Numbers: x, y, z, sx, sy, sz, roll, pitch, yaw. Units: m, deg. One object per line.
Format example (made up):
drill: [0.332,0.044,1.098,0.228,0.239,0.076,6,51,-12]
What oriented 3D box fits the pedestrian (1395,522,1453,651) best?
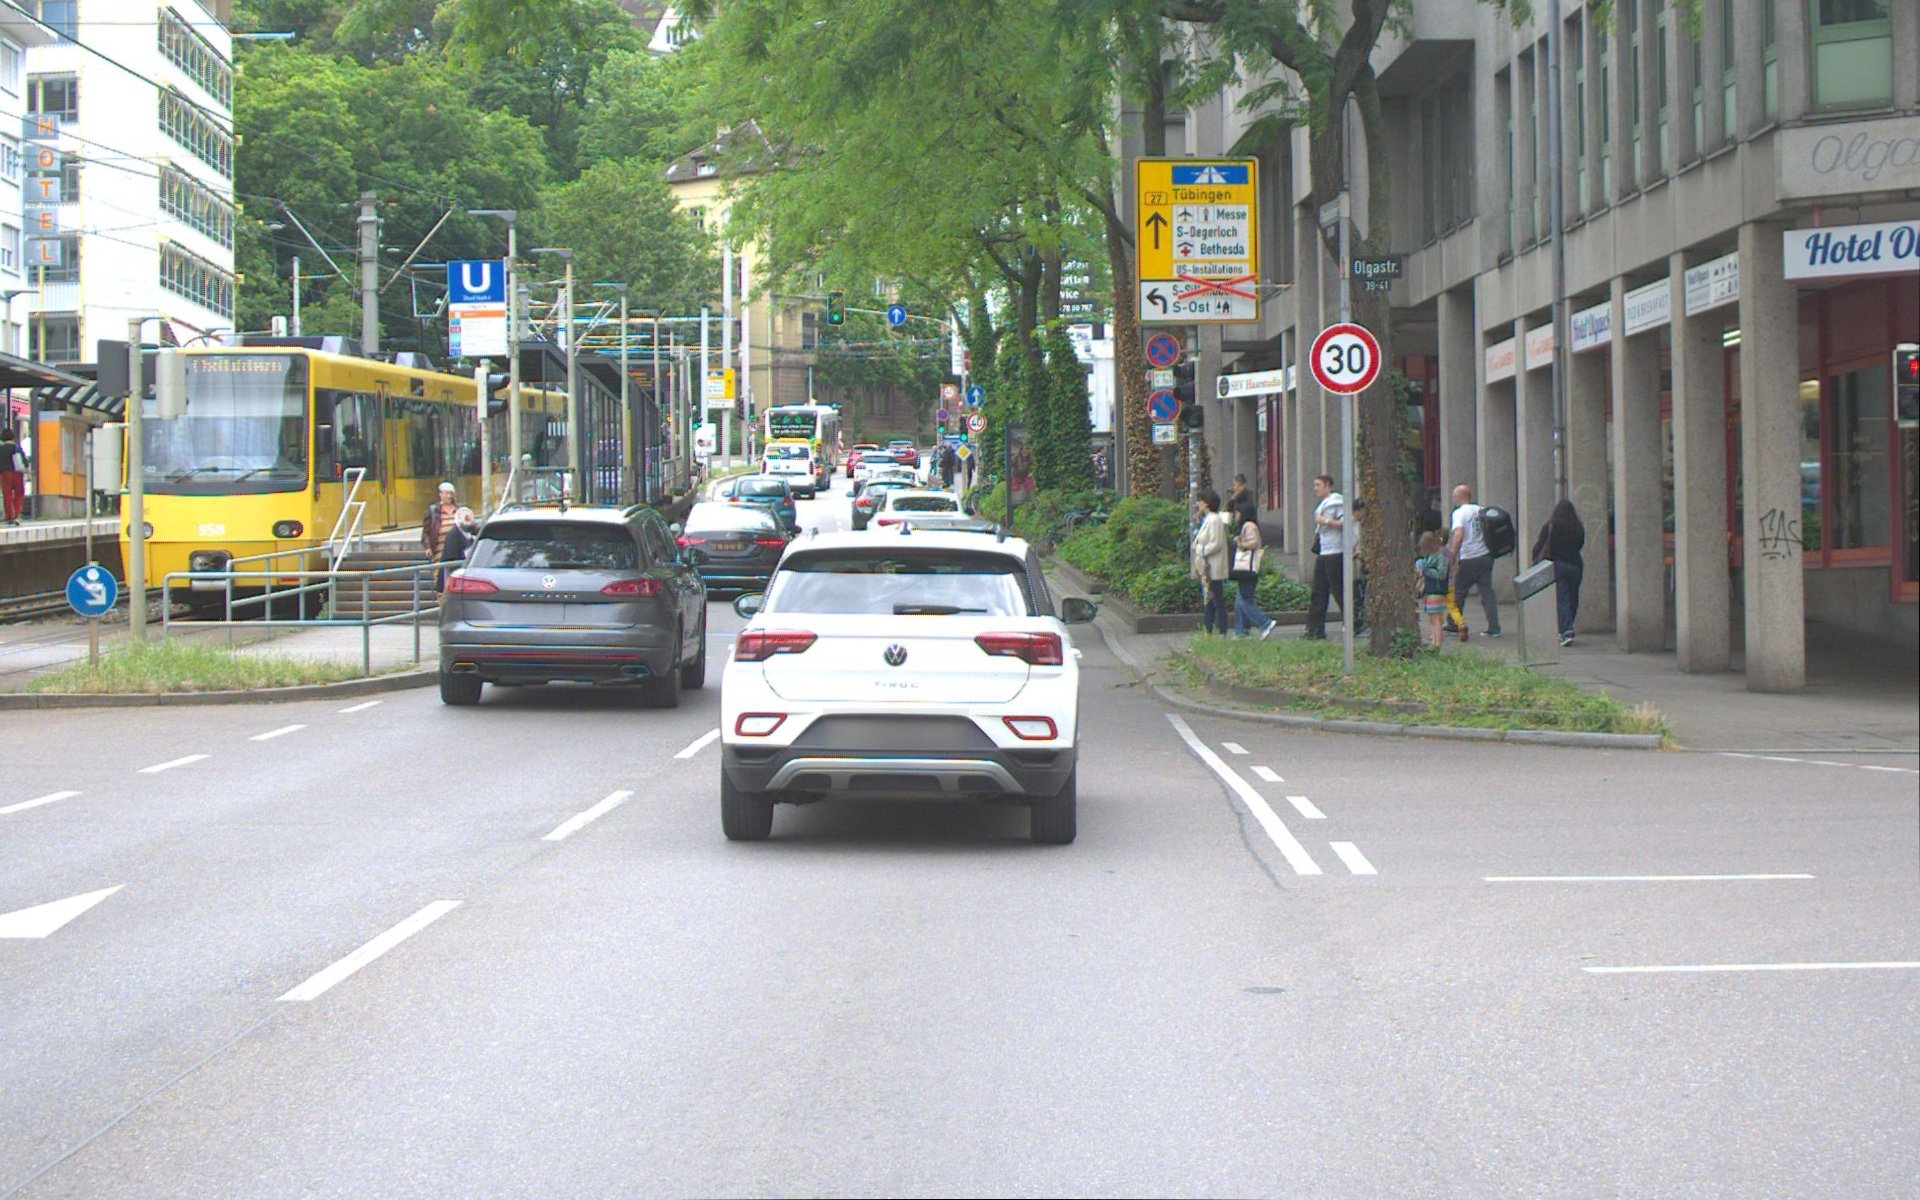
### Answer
pedestrian: [4.851,-0.143,35.977,0.471,1.329,0.520,1,1,-6]

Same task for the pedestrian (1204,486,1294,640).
pedestrian: [3.266,-0.432,38.903,0.835,1.698,0.764,-2,2,-5]

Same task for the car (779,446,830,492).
car: [-6.108,-5.145,135.517,1.885,1.678,4.161,1,1,-1]

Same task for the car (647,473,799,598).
car: [-3.474,-0.990,51.035,1.912,1.683,4.001,2,3,0]

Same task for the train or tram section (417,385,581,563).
train or tram section: [-9.968,-2.739,74.805,2.813,3.653,5.903,1,2,-1]

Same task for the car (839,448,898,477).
car: [-4.098,-6.180,154.424,1.583,1.168,3.676,1,1,16]

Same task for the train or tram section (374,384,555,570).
train or tram section: [-9.862,-2.459,68.971,2.835,3.508,5.752,1,2,-1]

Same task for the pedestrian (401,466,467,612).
pedestrian: [-6.187,-0.725,40.454,0.685,1.705,0.712,0,2,-2]

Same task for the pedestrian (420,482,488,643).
pedestrian: [-5.445,-0.414,37.021,0.635,1.705,0.872,0,2,-2]

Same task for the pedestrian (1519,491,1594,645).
pedestrian: [6.398,-0.348,36.883,0.762,1.606,0.618,-1,4,10]

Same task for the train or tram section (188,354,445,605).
train or tram section: [-9.567,-1.805,51.684,2.835,3.508,5.752,1,2,-1]

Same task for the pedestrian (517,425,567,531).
pedestrian: [-6.911,-2.007,56.875,0.717,1.725,0.671,1,1,0]

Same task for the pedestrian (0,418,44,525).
pedestrian: [-15.530,-2.112,56.694,0.627,1.756,0.847,0,1,0]

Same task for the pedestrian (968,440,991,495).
pedestrian: [0.706,-4.897,127.208,0.762,2.007,0.838,1,1,4]

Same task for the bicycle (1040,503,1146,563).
bicycle: [2.514,-1.273,65.123,1.915,1.073,0.613,-2,2,-4]

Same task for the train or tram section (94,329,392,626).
train or tram section: [-9.453,-1.629,45.920,2.835,3.666,5.752,1,2,-1]

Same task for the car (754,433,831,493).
car: [-6.035,-4.958,124.614,2.365,2.007,5.148,1,1,2]

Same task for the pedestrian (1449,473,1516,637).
pedestrian: [5.777,-0.501,38.031,0.518,1.783,0.764,1,1,-6]

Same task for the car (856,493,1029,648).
car: [-0.255,-0.365,40.347,1.884,1.678,4.162,1,1,-2]

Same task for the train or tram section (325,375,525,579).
train or tram section: [-9.757,-2.257,63.214,2.835,3.508,5.752,1,2,-1]

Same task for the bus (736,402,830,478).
bus: [-8.247,-7.295,158.292,3.371,3.054,13.328,1,1,-7]

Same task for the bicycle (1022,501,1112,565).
bicycle: [1.997,-1.252,63.979,1.620,1.124,0.613,-2,2,2]

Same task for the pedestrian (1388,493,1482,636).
pedestrian: [5.243,-0.395,37.997,0.835,1.557,0.764,1,1,-6]

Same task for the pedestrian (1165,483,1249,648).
pedestrian: [2.734,-0.388,38.098,0.693,1.771,0.690,-4,2,-5]

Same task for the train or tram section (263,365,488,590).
train or tram section: [-9.674,-2.035,57.435,2.835,3.508,5.752,1,2,-1]

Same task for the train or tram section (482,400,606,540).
train or tram section: [-11.344,-3.552,94.204,2.813,3.653,6.753,1,2,-3]

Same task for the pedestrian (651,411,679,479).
pedestrian: [-8.858,-4.640,103.230,0.762,2.007,0.838,1,1,-8]

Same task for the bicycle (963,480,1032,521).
bicycle: [1.059,-2.820,97.407,1.881,1.133,0.808,1,1,5]

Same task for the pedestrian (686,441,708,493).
pedestrian: [-10.466,-5.292,136.842,0.762,2.007,0.838,1,1,-1]

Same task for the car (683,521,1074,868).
car: [-0.332,0.402,18.385,1.837,1.578,4.157,1,2,2]

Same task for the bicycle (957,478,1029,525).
bicycle: [0.929,-2.739,95.914,1.881,1.262,0.764,1,1,10]

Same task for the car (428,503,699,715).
car: [-3.307,0.019,29.358,1.993,1.630,4.001,1,2,-2]

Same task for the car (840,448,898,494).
car: [-3.538,-4.967,133.055,1.884,1.678,4.162,1,1,-6]

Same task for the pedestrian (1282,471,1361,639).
pedestrian: [4.041,-0.504,38.481,0.733,1.868,0.733,0,1,-6]

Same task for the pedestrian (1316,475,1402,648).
pedestrian: [4.297,-0.422,37.082,0.721,1.796,0.835,-2,4,-5]

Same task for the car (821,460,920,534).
car: [-2.605,-2.923,98.612,2.364,2.007,5.149,1,1,-6]

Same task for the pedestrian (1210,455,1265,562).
pedestrian: [4.707,-1.560,58.370,0.762,1.776,0.848,-2,4,-6]

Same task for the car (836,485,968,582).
car: [-1.108,-1.226,63.292,1.884,1.678,4.162,1,1,-8]

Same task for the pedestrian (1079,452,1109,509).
pedestrian: [3.836,-3.414,98.381,0.635,1.609,0.588,1,1,-22]
